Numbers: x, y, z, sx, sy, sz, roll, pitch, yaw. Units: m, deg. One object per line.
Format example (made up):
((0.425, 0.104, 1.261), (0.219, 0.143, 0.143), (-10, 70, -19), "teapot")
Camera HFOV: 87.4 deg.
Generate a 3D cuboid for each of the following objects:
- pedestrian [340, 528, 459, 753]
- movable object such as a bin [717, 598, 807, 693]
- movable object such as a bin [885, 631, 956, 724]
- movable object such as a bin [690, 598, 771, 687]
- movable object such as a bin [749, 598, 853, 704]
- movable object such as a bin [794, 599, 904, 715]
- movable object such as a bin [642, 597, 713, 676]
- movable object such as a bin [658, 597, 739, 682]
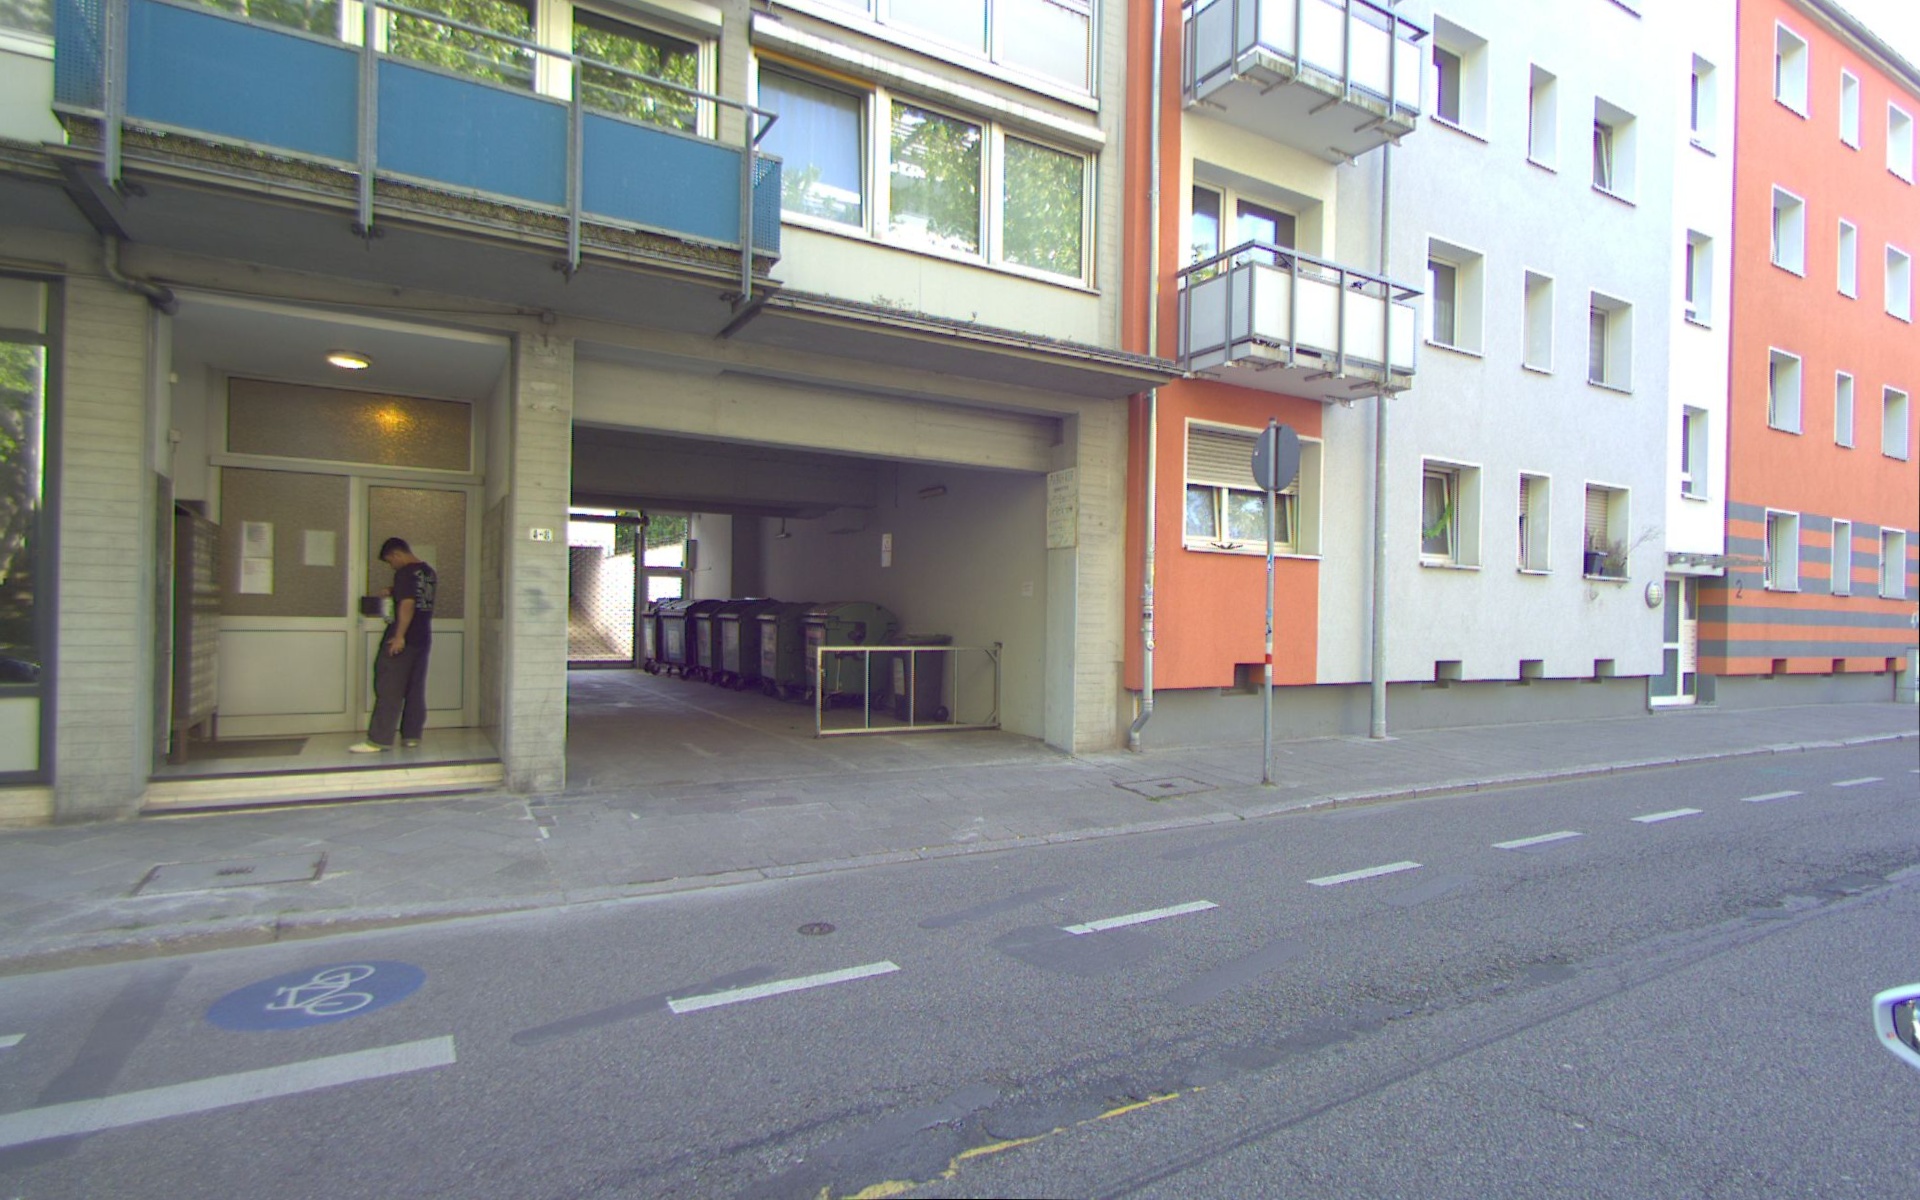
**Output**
((-4.517, 0.316, 8.128), (0.537, 1.736, 0.662), (1, 0, 3), "pedestrian")
((-3.292, 0.728, 16.648), (1.167, 1.503, 1.073), (1, 0, -30), "movable object such as a bin")
((-0.492, 0.945, 12.466), (0.687, 1.094, 0.579), (1, 0, -30), "movable object such as a bin")
((-4.038, 0.725, 17.627), (1.080, 1.503, 1.159), (1, 0, -30), "movable object such as a bin")
((-2.417, 0.735, 15.149), (1.167, 1.503, 1.252), (1, 0, -30), "movable object such as a bin")
((-1.536, 0.744, 13.764), (1.086, 1.503, 1.251), (1, 0, -30), "movable object such as a bin")
((-5.603, 0.711, 19.926), (1.167, 1.503, 0.819), (1, 0, -30), "movable object such as a bin")
((-4.884, 0.714, 18.694), (1.167, 1.503, 1.215), (1, 0, -30), "movable object such as a bin")
